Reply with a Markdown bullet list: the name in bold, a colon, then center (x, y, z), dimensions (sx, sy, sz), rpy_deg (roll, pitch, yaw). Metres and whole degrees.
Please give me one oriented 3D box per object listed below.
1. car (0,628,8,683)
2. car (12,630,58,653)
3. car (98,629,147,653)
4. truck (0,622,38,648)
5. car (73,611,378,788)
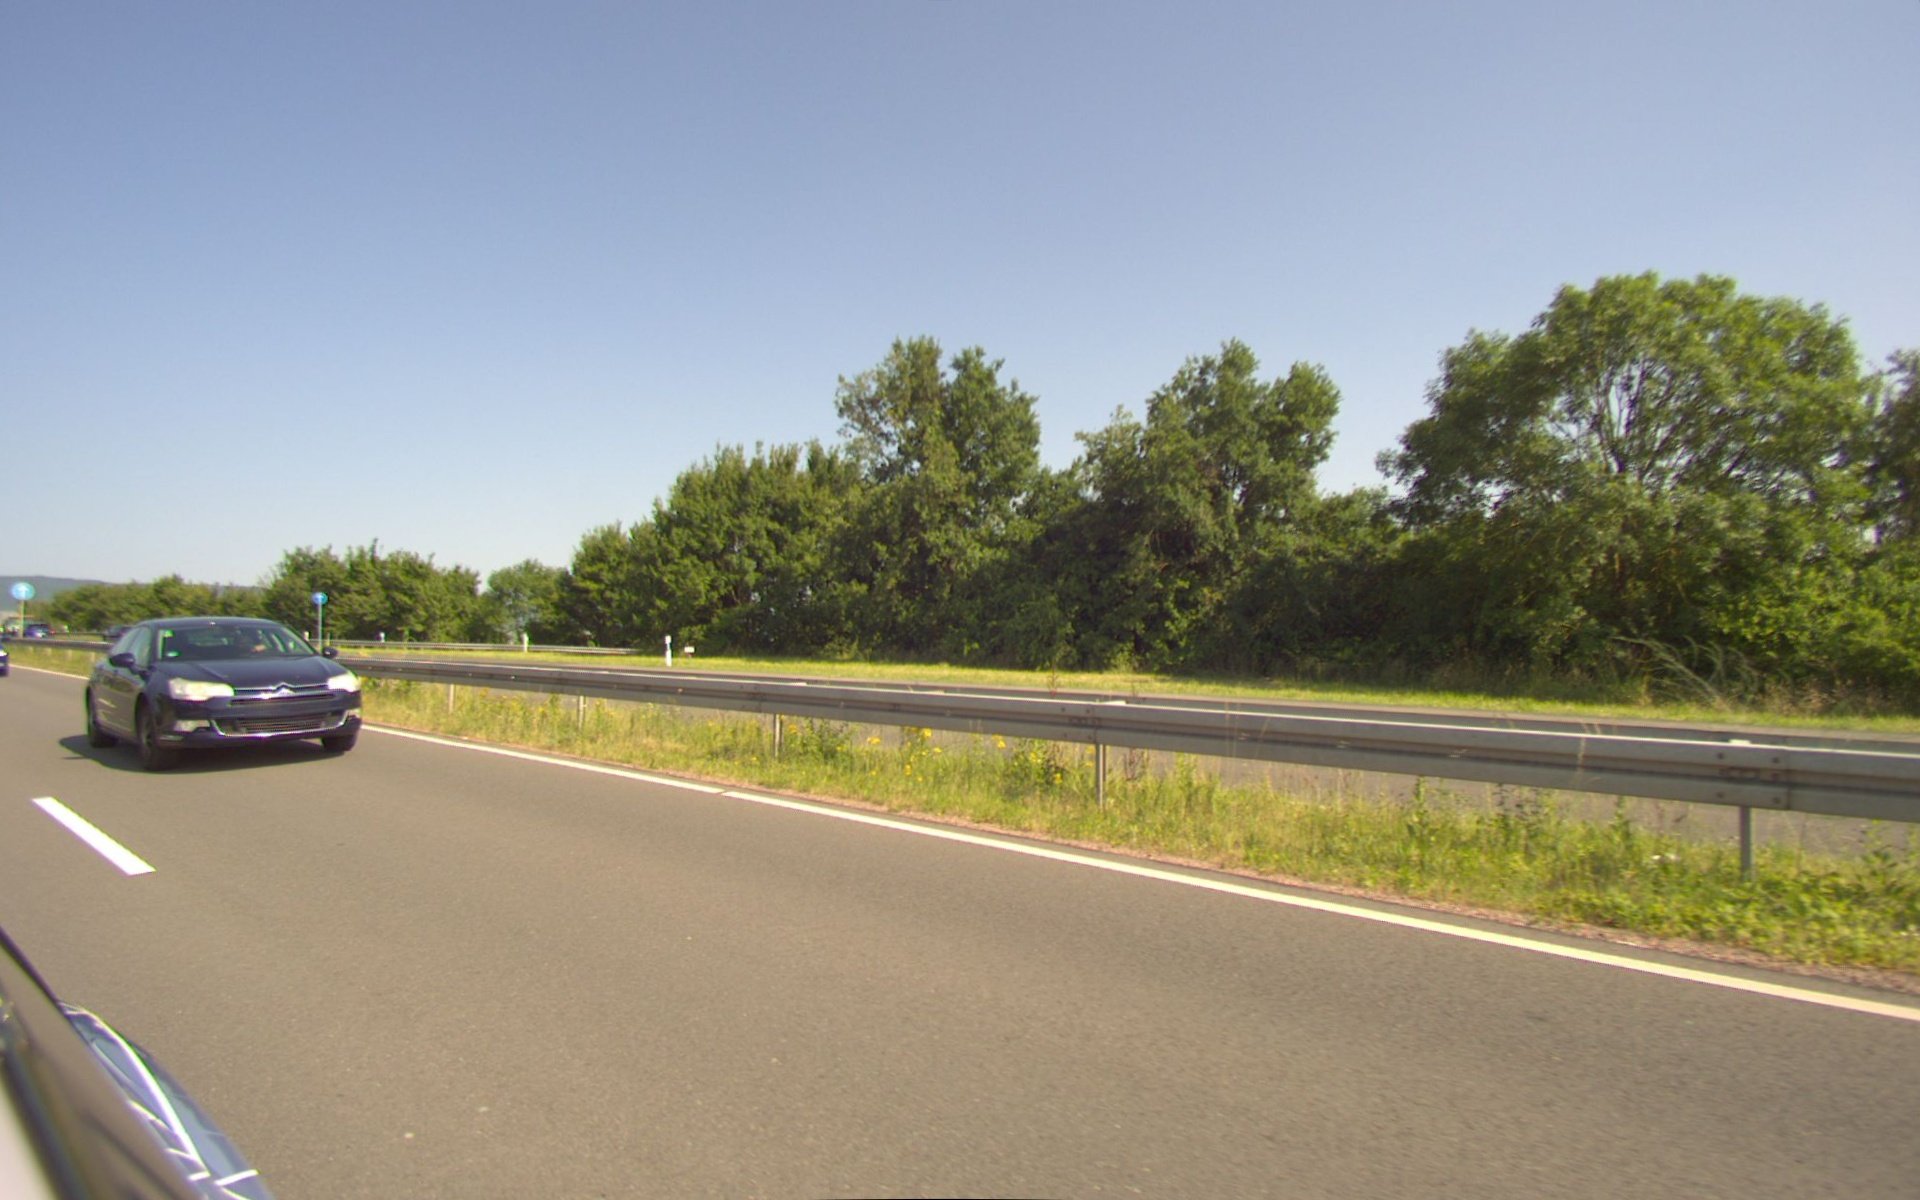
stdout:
- **car**: center (-26.784, 1.474, 26.831), dimensions (3.769, 1.422, 1.632), rpy_deg (-1, -1, 37)
- **car**: center (-70.206, 3.171, 76.795), dimensions (4.270, 1.617, 1.974), rpy_deg (-3, -1, 40)
- **car**: center (-63.392, 3.058, 76.566), dimensions (4.745, 1.713, 1.817), rpy_deg (-1, -1, 37)
- **truck**: center (-92.654, 3.462, 99.299), dimensions (6.608, 2.472, 2.106), rpy_deg (-2, -3, 38)
- **car**: center (-8.141, 0.937, 11.059), dimensions (4.372, 1.545, 1.765), rpy_deg (-2, -1, 41)
